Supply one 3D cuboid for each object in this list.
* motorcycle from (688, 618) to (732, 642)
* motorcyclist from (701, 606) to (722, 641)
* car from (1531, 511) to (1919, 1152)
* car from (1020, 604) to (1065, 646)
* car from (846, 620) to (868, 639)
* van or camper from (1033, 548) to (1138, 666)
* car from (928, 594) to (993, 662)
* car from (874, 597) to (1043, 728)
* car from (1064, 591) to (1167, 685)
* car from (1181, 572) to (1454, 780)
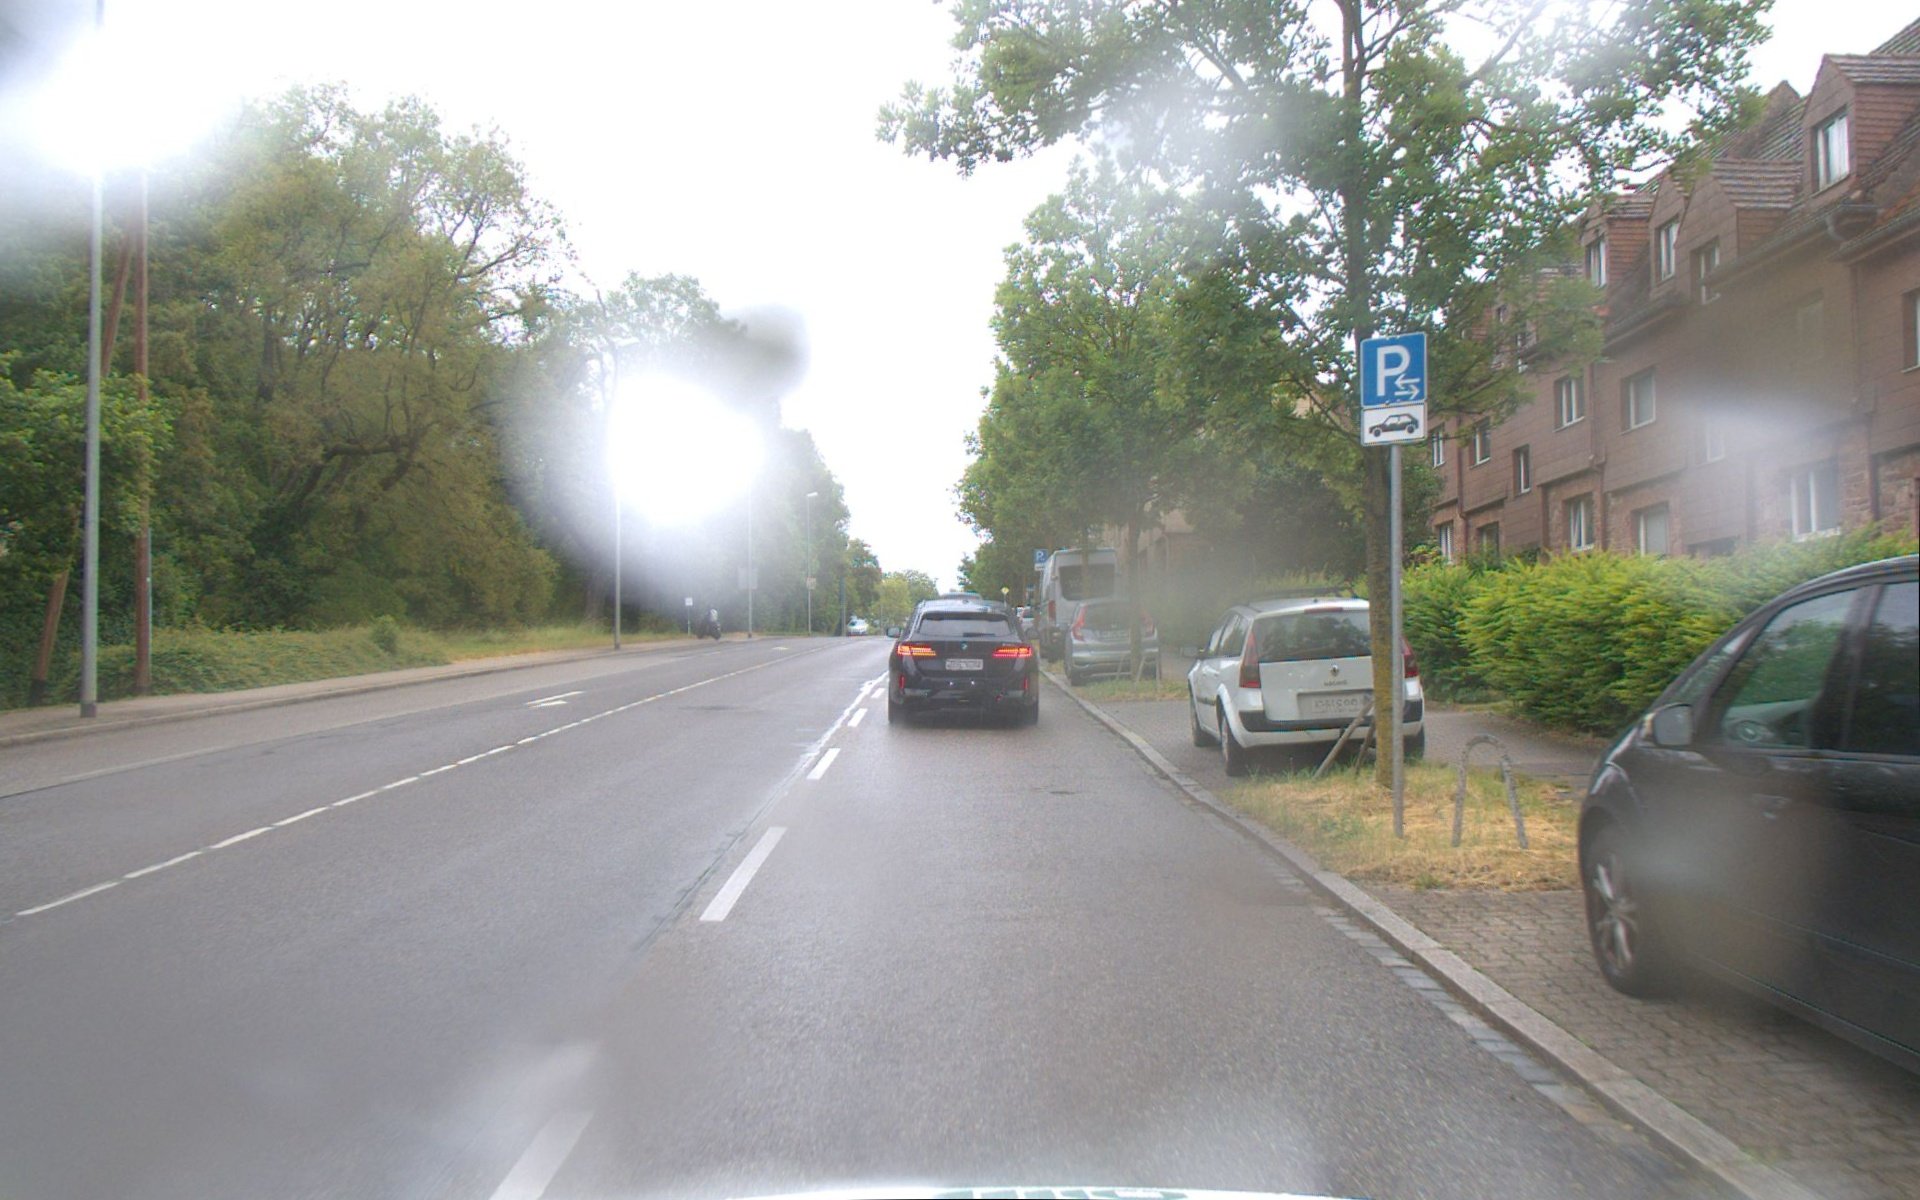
[{"bbox_3d":[-12.274,1.467,81.217,2.144,1.137,0.821,1,0,35],"label":"motorcycle"},{"bbox_3d":[-12.202,1.166,81.175,0.638,1.710,0.811,1,-1,33],"label":"motorcyclist"},{"bbox_3d":[3.419,0.585,4.887,1.787,1.707,4.583,-2,0,-1],"label":"car"},{"bbox_3d":[3.503,1.033,70.712,1.667,1.612,4.643,-4,0,1],"label":"car"},{"bbox_3d":[-8.594,2.468,138.198,1.655,1.509,4.450,-2,-1,-2],"label":"car"},{"bbox_3d":[3.110,0.168,42.518,2.152,2.697,7.301,-2,0,1],"label":"van or camper"},{"bbox_3d":[0.043,0.886,51.841,1.952,2.049,4.000,0,-1,0],"label":"car"},{"bbox_3d":[-0.049,0.764,21.540,1.953,1.478,3.999,2,-1,-1],"label":"car"},{"bbox_3d":[2.849,0.682,30.931,1.634,1.555,3.833,-3,-1,2],"label":"car"},{"bbox_3d":[3.218,0.621,15.761,1.786,1.631,4.475,-2,0,3],"label":"car"}]
